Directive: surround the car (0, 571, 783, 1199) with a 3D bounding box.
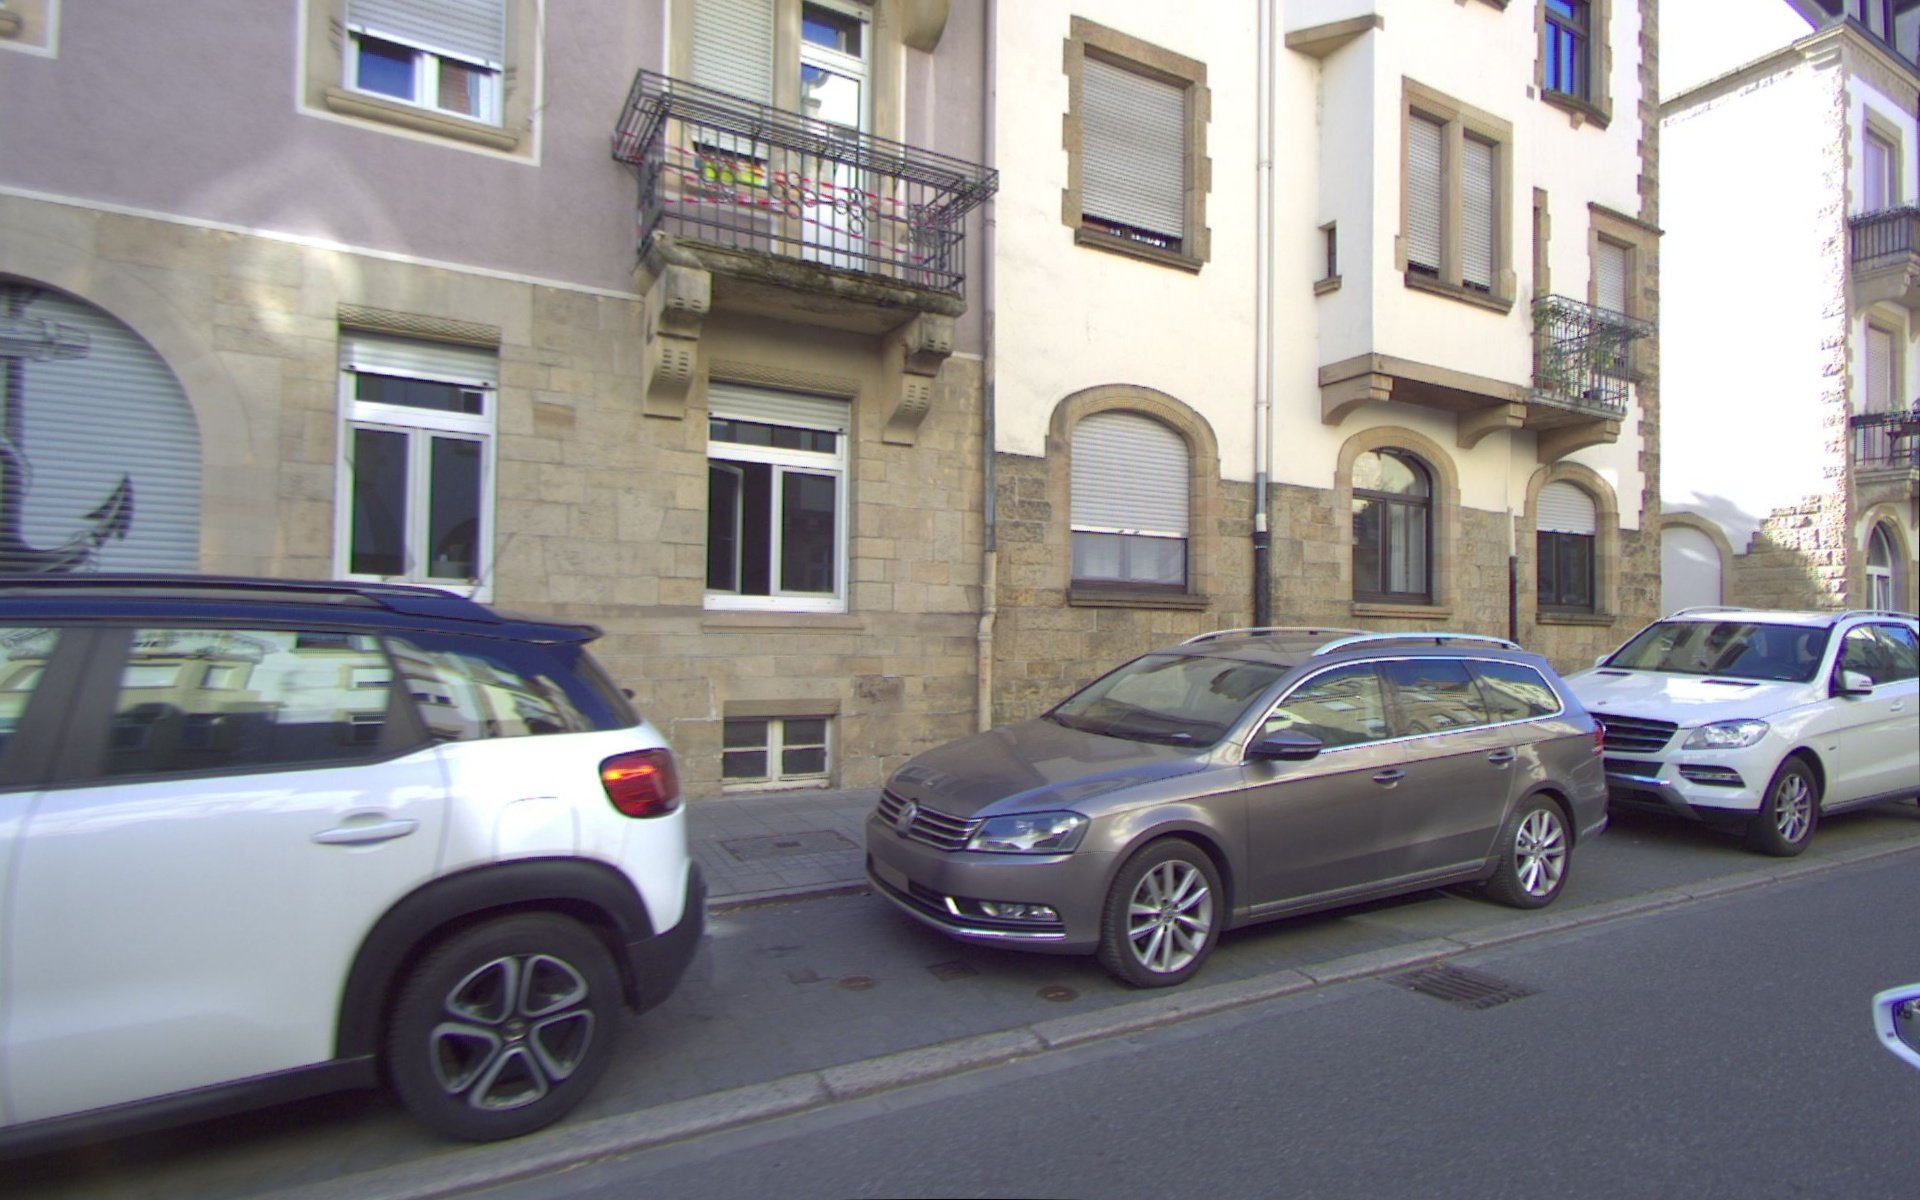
[{"bbox_3d":[-2.727,0.735,2.998,3.974,1.604,1.706,1,1,-31],"label":"car"}]

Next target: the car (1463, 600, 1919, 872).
[{"bbox_3d":[6.606,0.927,8.390,4.664,1.745,1.885,1,0,-27],"label":"car"}]

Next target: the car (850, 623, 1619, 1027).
[{"bbox_3d":[1.653,0.921,5.566,4.228,1.507,1.567,1,0,-29],"label":"car"}]
